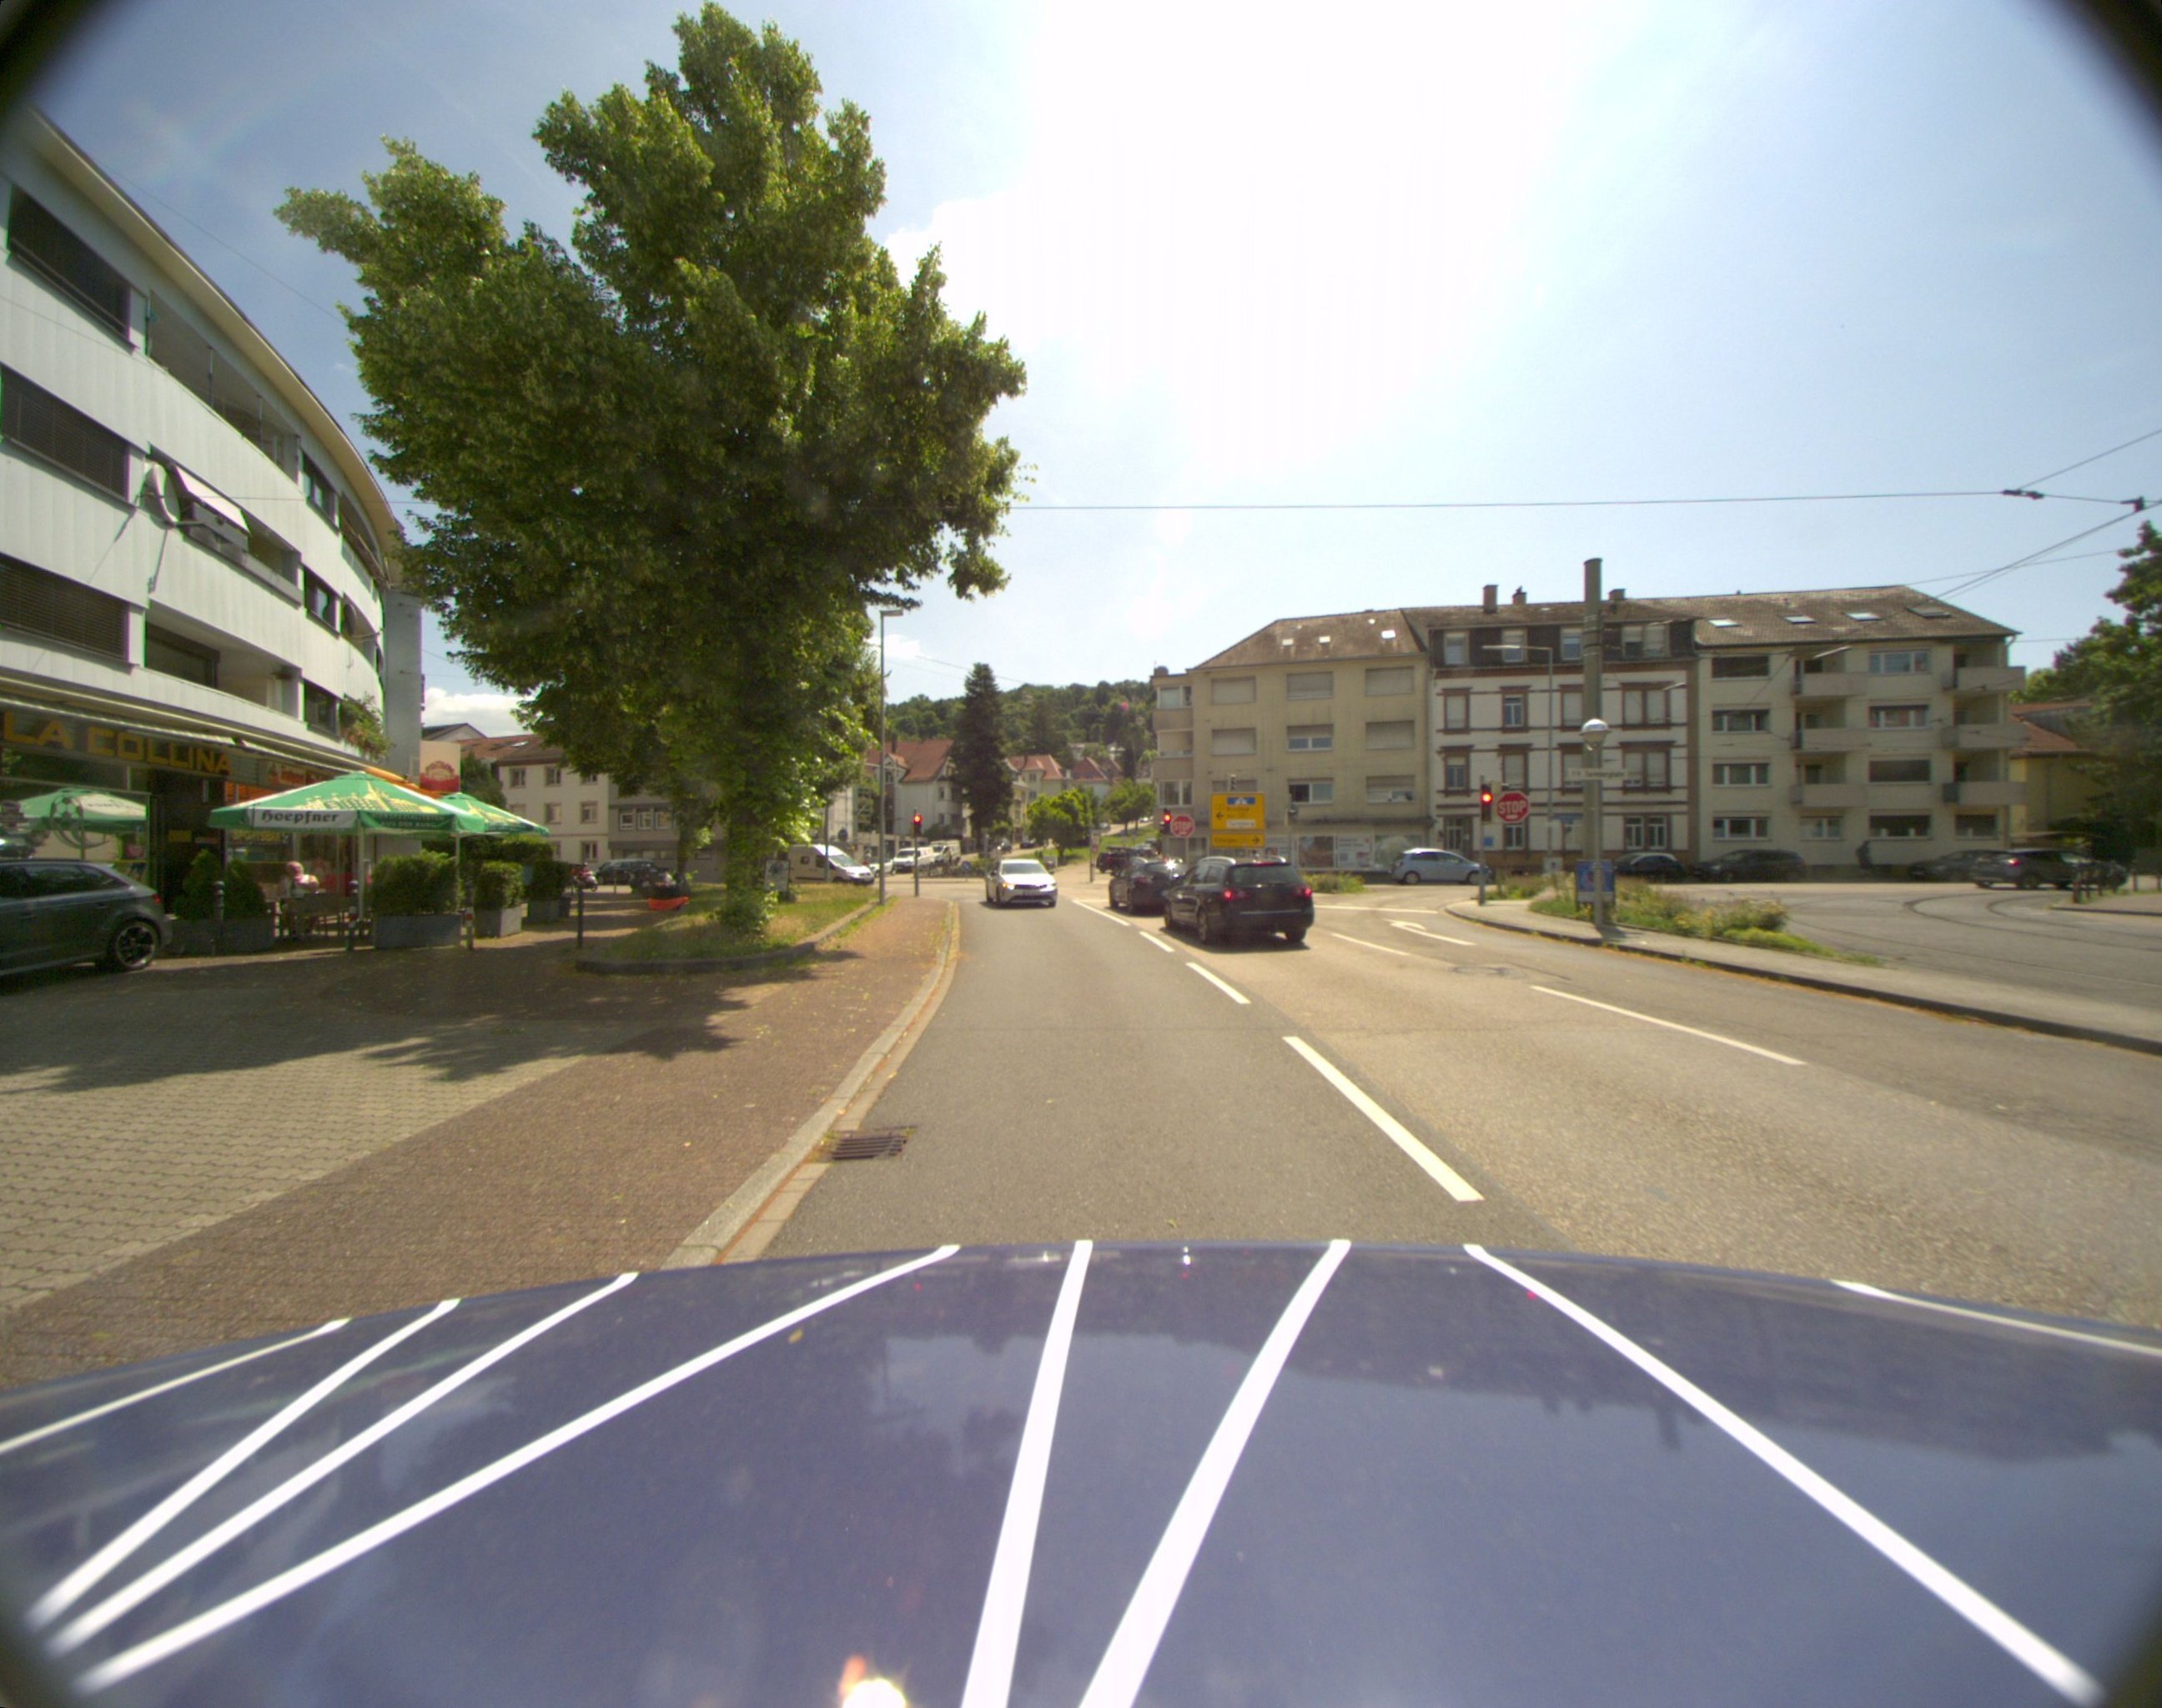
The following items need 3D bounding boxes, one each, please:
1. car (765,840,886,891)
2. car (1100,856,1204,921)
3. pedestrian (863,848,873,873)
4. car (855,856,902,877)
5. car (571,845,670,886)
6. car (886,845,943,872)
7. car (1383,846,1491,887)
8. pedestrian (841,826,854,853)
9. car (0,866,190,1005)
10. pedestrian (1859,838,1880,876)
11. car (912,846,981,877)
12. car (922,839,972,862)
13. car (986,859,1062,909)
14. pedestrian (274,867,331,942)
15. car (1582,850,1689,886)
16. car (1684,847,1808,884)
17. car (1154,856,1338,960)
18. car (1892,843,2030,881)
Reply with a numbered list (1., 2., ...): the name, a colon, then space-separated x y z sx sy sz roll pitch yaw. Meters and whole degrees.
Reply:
1. car: -12.340 0.550 36.657 5.432 2.258 2.003 -2 1 22
2. car: 1.842 0.859 21.028 1.842 1.482 4.124 -2 1 -9
3. pedestrian: -17.280 0.515 61.613 0.706 2.002 0.625 -3 1 -16
4. car: -15.544 0.934 58.423 1.529 1.361 4.160 -2 1 15
5. car: -29.949 0.739 49.410 5.434 2.396 2.260 -2 1 15
6. car: -13.976 0.332 64.077 2.397 2.002 5.386 -2 1 15
7. car: 15.636 0.544 33.591 3.993 1.609 1.761 -2 1 12
8. pedestrian: -17.625 -1.128 57.387 0.625 2.002 0.706 -2 1 12
9. car: -12.010 0.882 7.695 1.714 1.392 4.277 -1 1 -15
10. pedestrian: 38.844 0.123 37.451 0.556 1.846 0.428 -2 1 7
11. car: -9.732 0.494 55.772 2.397 2.002 6.379 -2 1 15
12. car: -12.334 -0.368 70.529 2.397 2.002 5.386 -2 1 15
13. car: -1.915 0.877 24.295 1.820 1.371 4.387 -1 0 -12
14. pedestrian: -13.770 0.876 13.436 0.605 1.263 0.577 -1 2 37
15. car: 27.219 0.672 37.415 3.754 1.576 2.001 -2 1 7
16. car: 32.001 0.561 36.674 4.065 1.576 2.001 -2 1 7
17. car: 2.775 0.829 14.035 1.842 1.482 4.809 -1 1 -7
18. car: 41.055 0.361 35.530 4.065 1.576 1.815 -2 1 7
